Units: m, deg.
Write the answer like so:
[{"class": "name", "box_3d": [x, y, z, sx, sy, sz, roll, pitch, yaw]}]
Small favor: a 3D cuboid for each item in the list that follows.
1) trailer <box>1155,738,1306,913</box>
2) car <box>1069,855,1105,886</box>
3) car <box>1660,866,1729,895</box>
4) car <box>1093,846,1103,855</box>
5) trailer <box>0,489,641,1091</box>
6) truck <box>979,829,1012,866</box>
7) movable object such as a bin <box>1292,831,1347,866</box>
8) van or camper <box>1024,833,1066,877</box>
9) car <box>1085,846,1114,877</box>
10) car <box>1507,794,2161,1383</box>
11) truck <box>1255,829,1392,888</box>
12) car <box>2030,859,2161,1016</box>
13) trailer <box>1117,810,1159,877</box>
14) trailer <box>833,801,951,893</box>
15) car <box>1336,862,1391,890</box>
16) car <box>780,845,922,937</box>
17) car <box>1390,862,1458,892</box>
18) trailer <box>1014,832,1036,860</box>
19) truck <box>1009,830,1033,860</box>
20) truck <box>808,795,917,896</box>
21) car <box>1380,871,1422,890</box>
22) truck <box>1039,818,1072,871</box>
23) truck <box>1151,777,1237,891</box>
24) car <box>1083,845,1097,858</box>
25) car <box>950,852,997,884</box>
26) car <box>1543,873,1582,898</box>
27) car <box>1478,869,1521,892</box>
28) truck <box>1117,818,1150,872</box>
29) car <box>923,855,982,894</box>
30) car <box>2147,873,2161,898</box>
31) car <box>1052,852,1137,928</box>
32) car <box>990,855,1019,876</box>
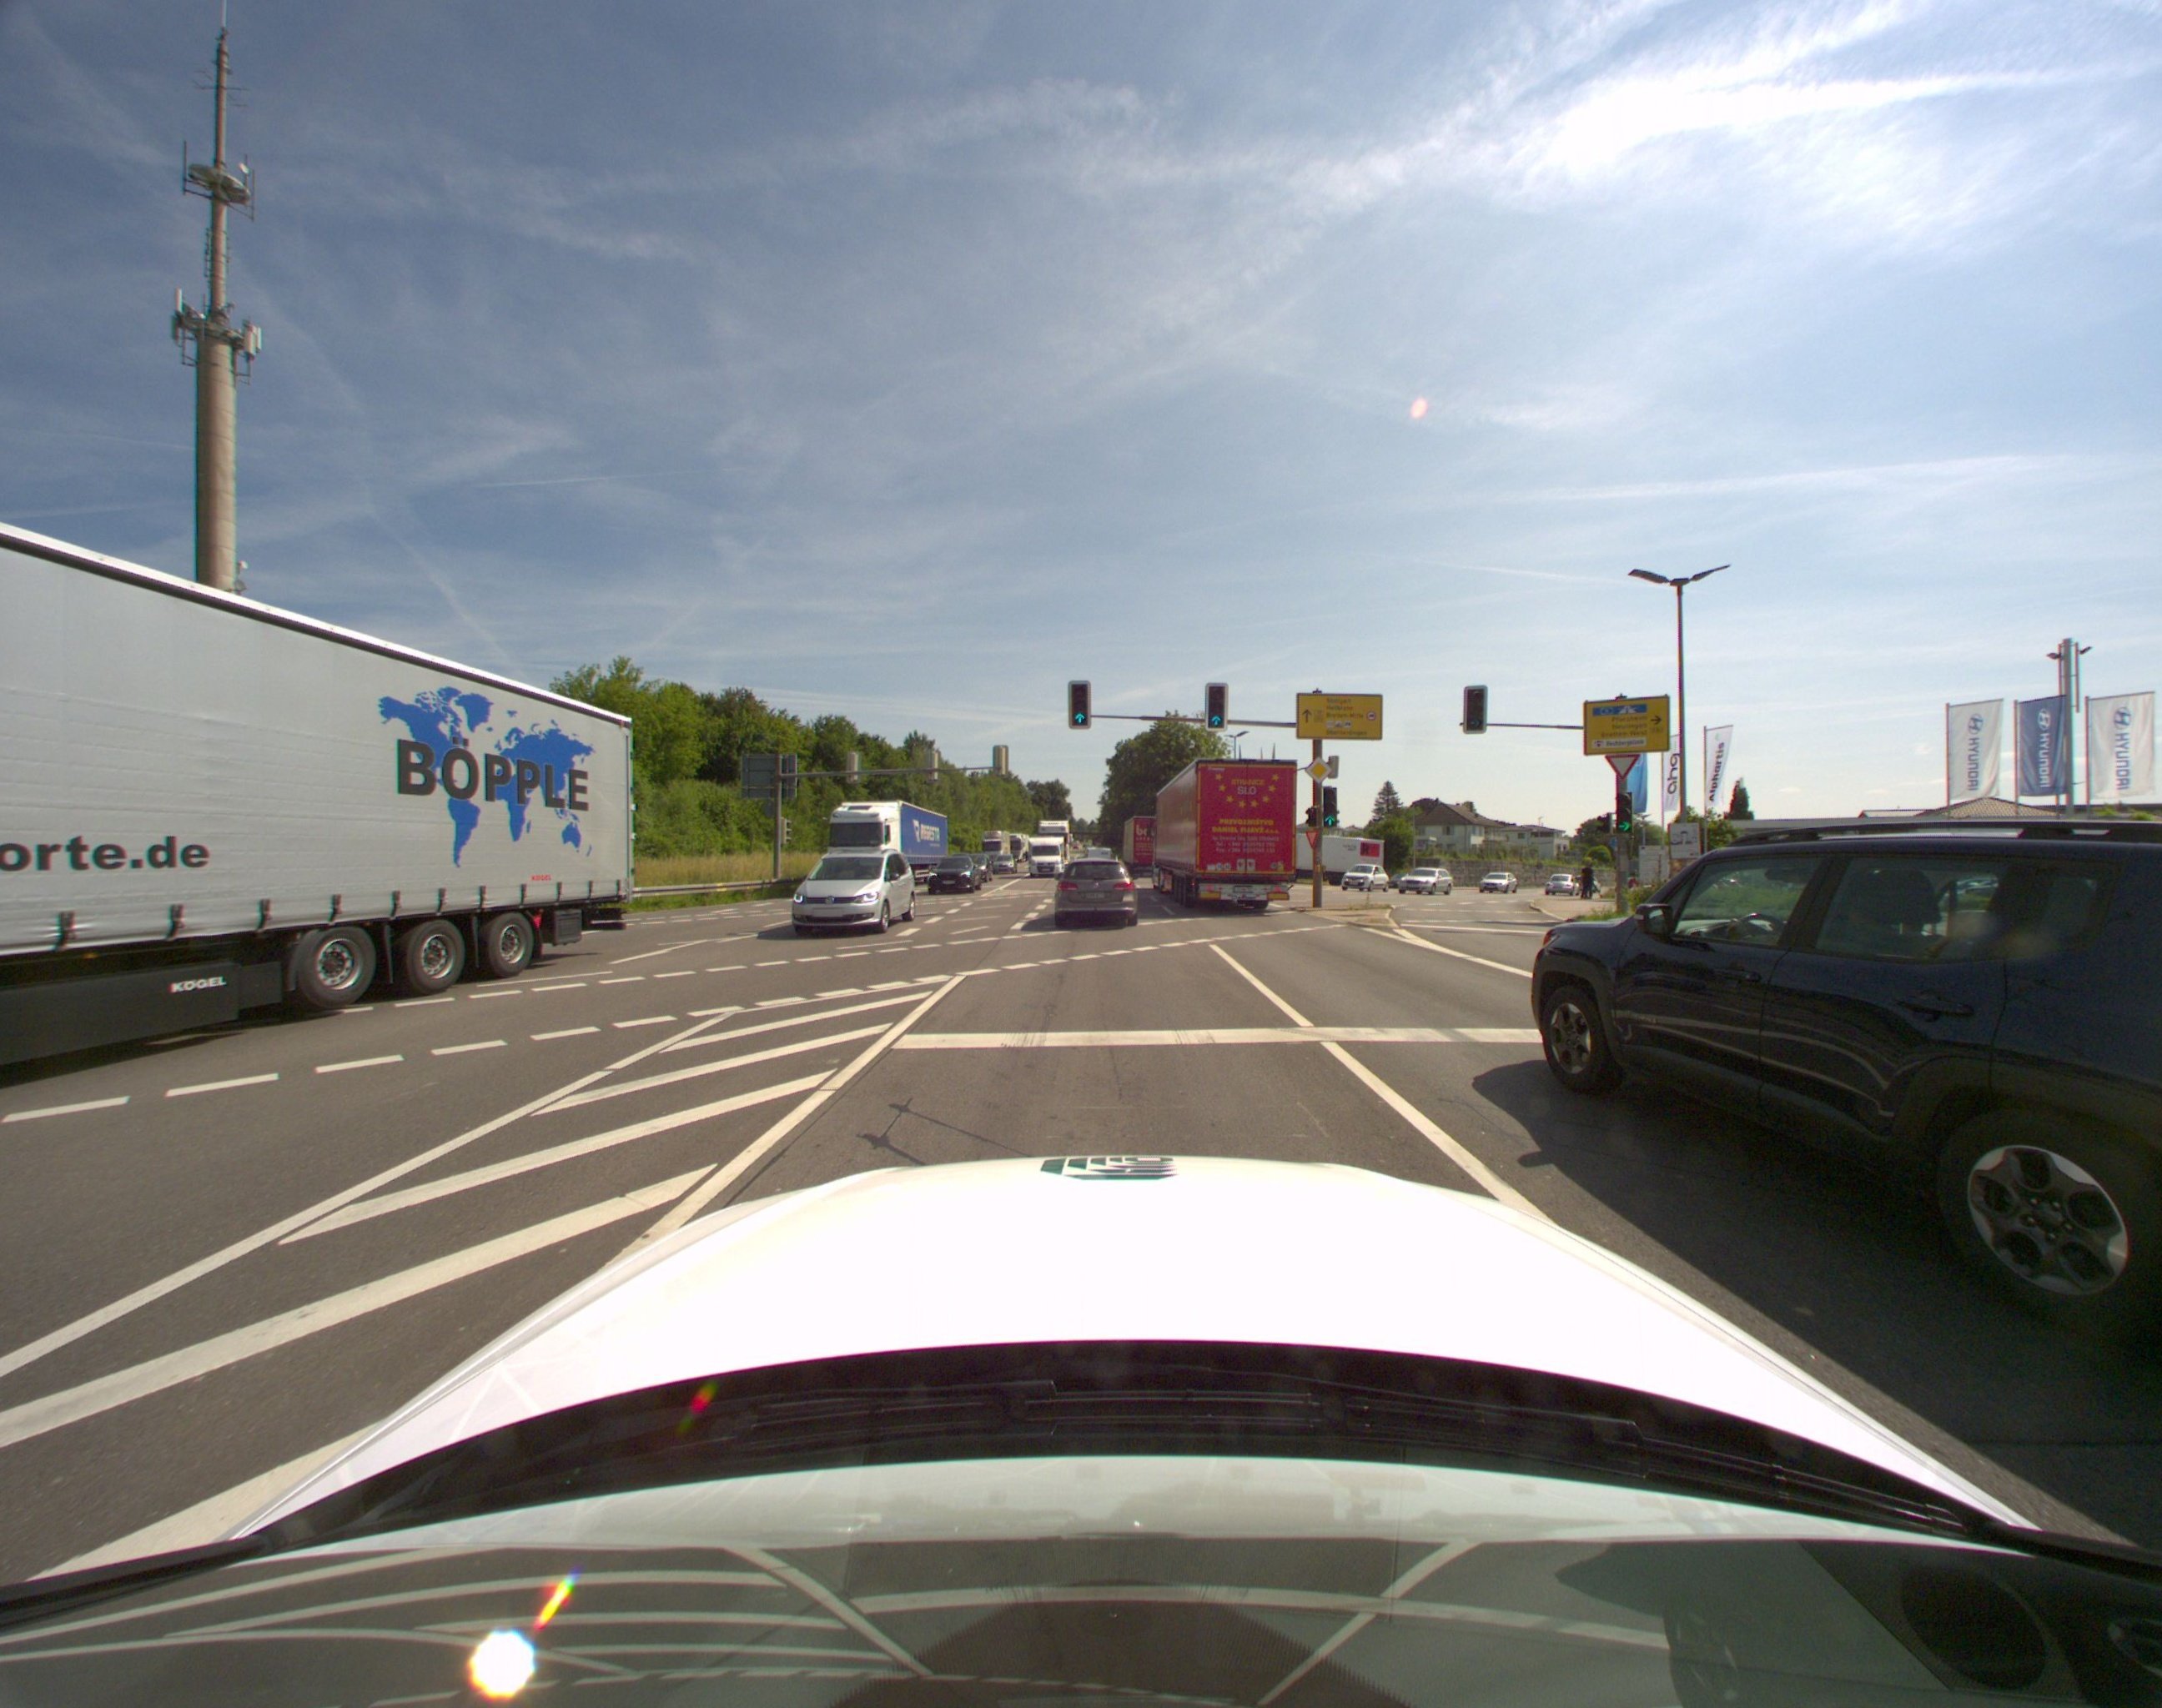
[{"class": "trailer", "box_3d": [4.383, -0.729, 27.126, 2.829, 4.365, 13.170, 1, 0, 1]}, {"class": "car", "box_3d": [0.293, 0.829, 42.700, 1.765, 1.513, 3.998, -1, 0, -1]}, {"class": "car", "box_3d": [46.734, 2.005, 62.142, 4.028, 2.035, 2.082, -1, 0, 34]}, {"class": "car", "box_3d": [3.762, -0.743, 177.609, 1.987, 2.013, 3.999, -1, 0, -1]}, {"class": "trailer", "box_3d": [-8.819, -0.425, 7.141, 2.684, 4.147, 13.870, -1, 0, -2]}, {"class": "truck", "box_3d": [-9.660, -0.696, 93.119, 2.721, 3.999, 9.617, -1, 0, -1]}, {"class": "movable object such as a bin", "box_3d": [23.016, -0.547, 78.458, 2.863, 3.207, 6.748, -1, 0, 37]}, {"class": "van or camper", "box_3d": [-2.225, 0.065, 52.992, 2.322, 2.600, 6.979, -1, 0, 0]}, {"class": "car", "box_3d": [1.166, 0.493, 53.600, 1.765, 1.936, 3.976, -1, 0, -1]}, {"class": "car", "box_3d": [3.960, 0.642, 3.965, 1.764, 1.654, 4.002, -1, 0, 2]}, {"class": "truck", "box_3d": [17.977, 0.360, 60.383, 9.692, 3.628, 2.752, 4, -2, -17]}, {"class": "car", "box_3d": [12.099, 0.848, 8.276, 1.974, 1.519, 4.478, -1, 0, 33]}, {"class": "trailer", "box_3d": [3.969, -0.683, 59.216, 2.386, 4.243, 13.082, -1, 0, 2]}, {"class": "trailer", "box_3d": [-9.580, -0.332, 43.522, 3.084, 4.079, 14.122, -1, 0, 0]}, {"class": "car", "box_3d": [16.130, 1.263, 46.337, 1.689, 1.504, 3.778, 1, -1, 40]}, {"class": "car", "box_3d": [-4.841, 0.673, 17.847, 1.837, 1.732, 4.587, 1, 1, -1]}, {"class": "car", "box_3d": [18.885, 1.288, 44.697, 1.975, 1.505, 5.030, 1, -1, 40]}, {"class": "trailer", "box_3d": [-8.547, -1.190, 124.314, 2.832, 4.069, 8.752, -1, 0, -1]}, {"class": "truck", "box_3d": [-8.402, -1.240, 115.167, 2.821, 4.116, 9.678, -1, 0, -1]}, {"class": "truck", "box_3d": [-9.531, -0.361, 36.340, 3.178, 4.079, 6.343, -1, 0, -1]}, {"class": "car", "box_3d": [26.404, 2.169, 67.175, 1.974, 1.460, 4.347, -1, -2, 40]}, {"class": "truck", "box_3d": [-2.044, -0.762, 66.596, 2.530, 4.087, 6.262, -1, 0, -1]}, {"class": "truck", "box_3d": [4.518, -0.774, 33.782, 2.859, 4.281, 5.841, 1, 0, 1]}, {"class": "car", "box_3d": [1.370, -0.366, 125.444, 1.987, 2.013, 3.999, -1, 0, -1]}, {"class": "car", "box_3d": [-6.067, 0.753, 46.433, 1.986, 1.726, 4.001, -1, 0, 1]}, {"class": "car", "box_3d": [33.785, 2.158, 57.124, 1.974, 1.575, 4.025, 2, 0, 35]}, {"class": "car", "box_3d": [30.025, 1.916, 58.428, 1.894, 1.498, 4.024, 1, -1, 40]}, {"class": "truck", "box_3d": [4.180, -0.691, 66.072, 2.397, 4.127, 5.523, -1, 0, 1]}, {"class": "car", "box_3d": [-5.284, 0.795, 34.033, 1.989, 1.485, 4.449, -1, 0, -3]}, {"class": "car", "box_3d": [75.662, 2.122, 54.975, 4.135, 1.618, 2.021, -1, 0, 40]}, {"class": "car", "box_3d": [0.258, 0.721, 18.463, 1.686, 1.513, 3.998, -1, 0, -1]}, {"class": "car", "box_3d": [-5.783, 0.822, 62.264, 1.719, 1.502, 4.001, -1, 0, 1]}]
